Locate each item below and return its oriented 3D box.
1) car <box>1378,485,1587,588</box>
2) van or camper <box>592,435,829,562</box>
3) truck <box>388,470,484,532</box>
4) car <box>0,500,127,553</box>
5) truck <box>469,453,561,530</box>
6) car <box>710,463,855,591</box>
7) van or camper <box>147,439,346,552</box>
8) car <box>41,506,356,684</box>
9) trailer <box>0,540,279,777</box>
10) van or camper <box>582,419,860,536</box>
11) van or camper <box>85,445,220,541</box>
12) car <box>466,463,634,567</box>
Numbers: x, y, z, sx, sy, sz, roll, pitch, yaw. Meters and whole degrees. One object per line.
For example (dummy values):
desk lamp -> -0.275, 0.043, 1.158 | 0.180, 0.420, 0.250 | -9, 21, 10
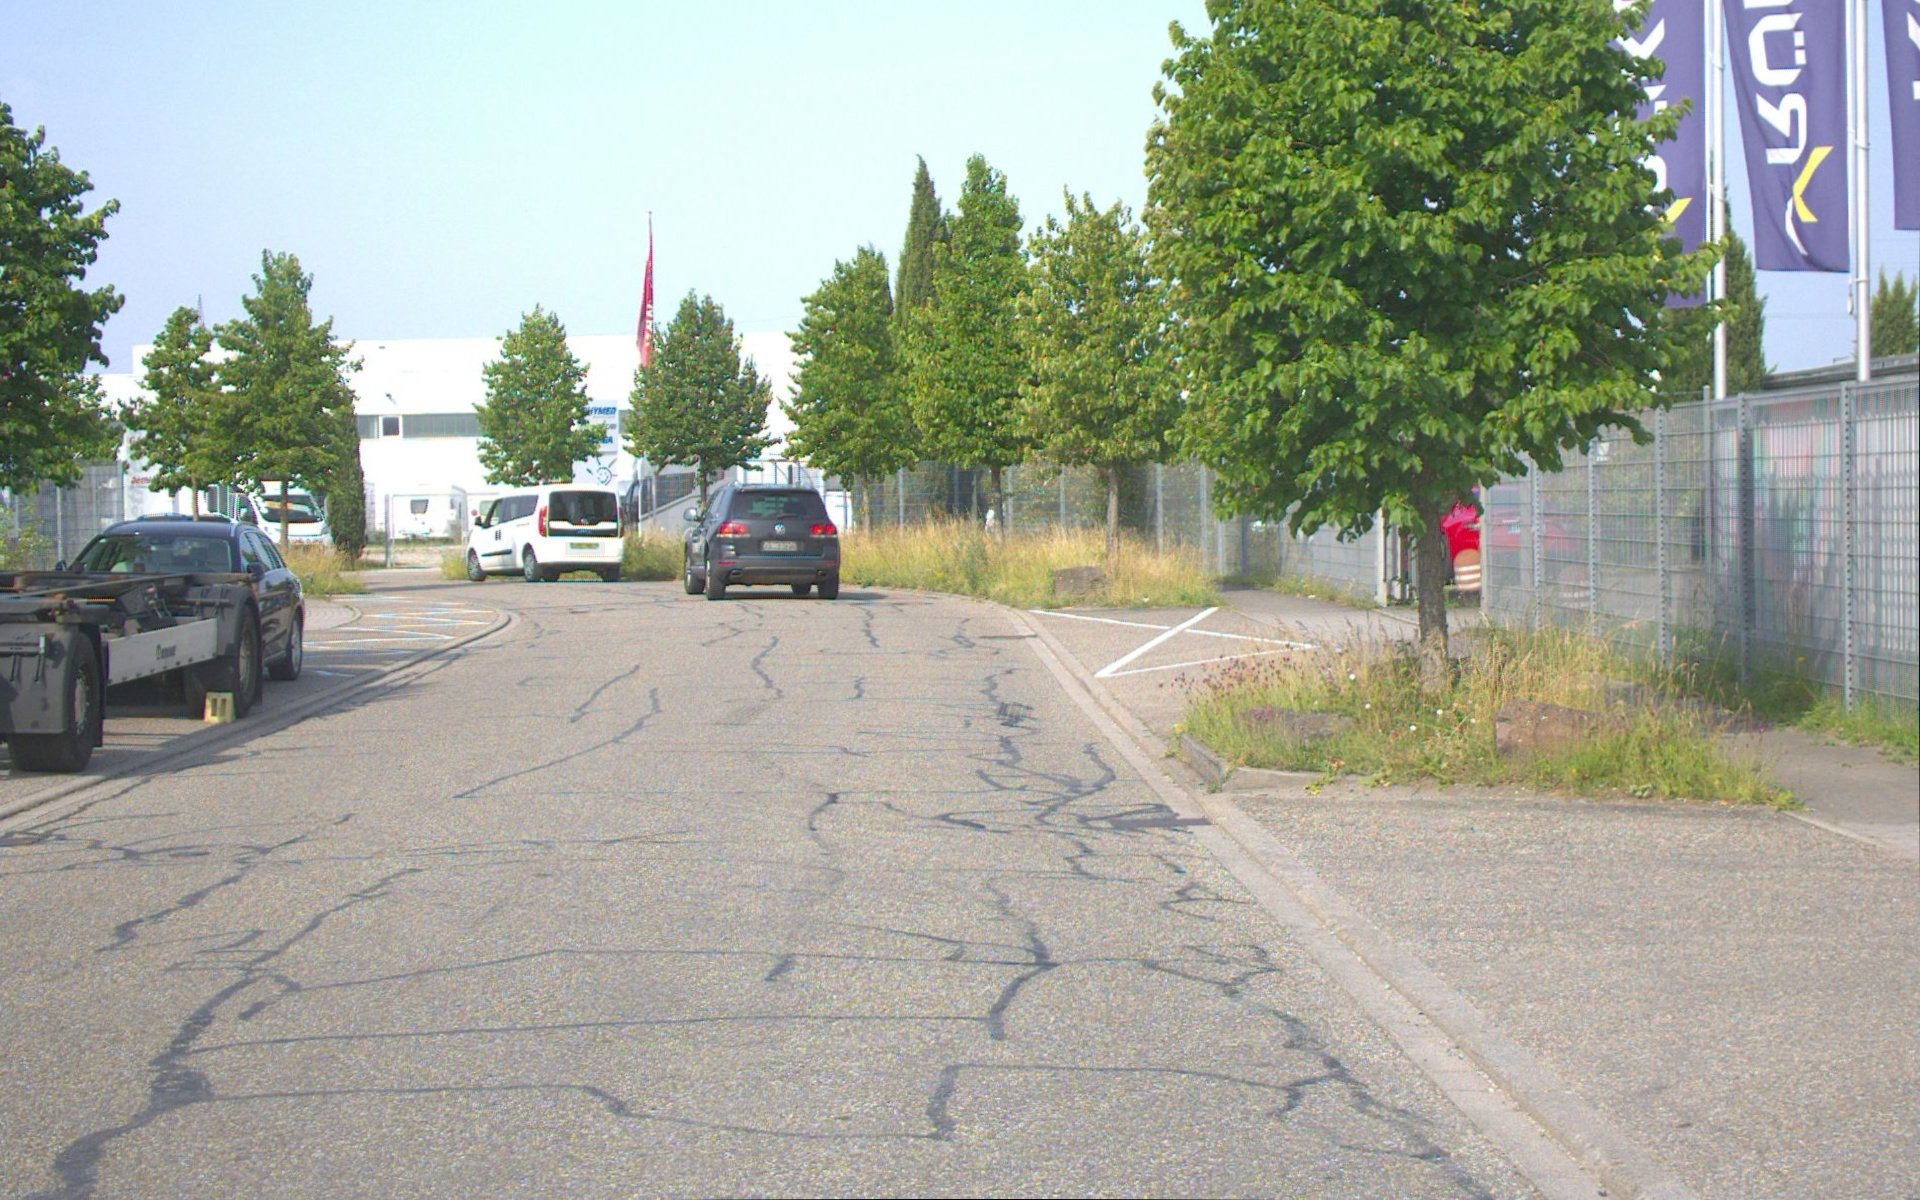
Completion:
car -> 7.345, -0.938, 48.786 | 1.880, 1.353, 4.775 | -1, 2, -5
van or camper -> -5.949, -2.359, 80.763 | 2.349, 2.838, 7.342 | -1, 2, -32
truck -> -19.815, -3.797, 130.436 | 2.450, 2.257, 8.003 | 0, 2, 0
car -> -26.226, -2.165, 100.218 | 2.167, 1.471, 3.998 | 0, 2, 14
truck -> -16.832, -4.120, 130.418 | 2.450, 2.816, 8.003 | 0, 2, 0
car -> -2.583, -1.104, 50.894 | 1.993, 1.798, 4.001 | 1, 2, -1
van or camper -> -19.322, -2.817, 92.819 | 2.331, 2.933, 6.969 | -2, 2, -39
car -> -6.995, -0.107, 32.037 | 1.993, 1.461, 4.433 | 1, 2, -1
trailer -> -6.526, 0.285, 24.099 | 2.130, 1.228, 7.158 | 1, 2, 0
van or camper -> -6.447, -3.279, 92.198 | 7.257, 3.021, 2.586 | -1, 1, -7
van or camper -> -26.775, -3.592, 114.333 | 2.798, 3.073, 7.971 | 0, 2, -2
car -> -7.915, -1.647, 66.008 | 1.993, 1.893, 4.468 | -2, 2, -23
